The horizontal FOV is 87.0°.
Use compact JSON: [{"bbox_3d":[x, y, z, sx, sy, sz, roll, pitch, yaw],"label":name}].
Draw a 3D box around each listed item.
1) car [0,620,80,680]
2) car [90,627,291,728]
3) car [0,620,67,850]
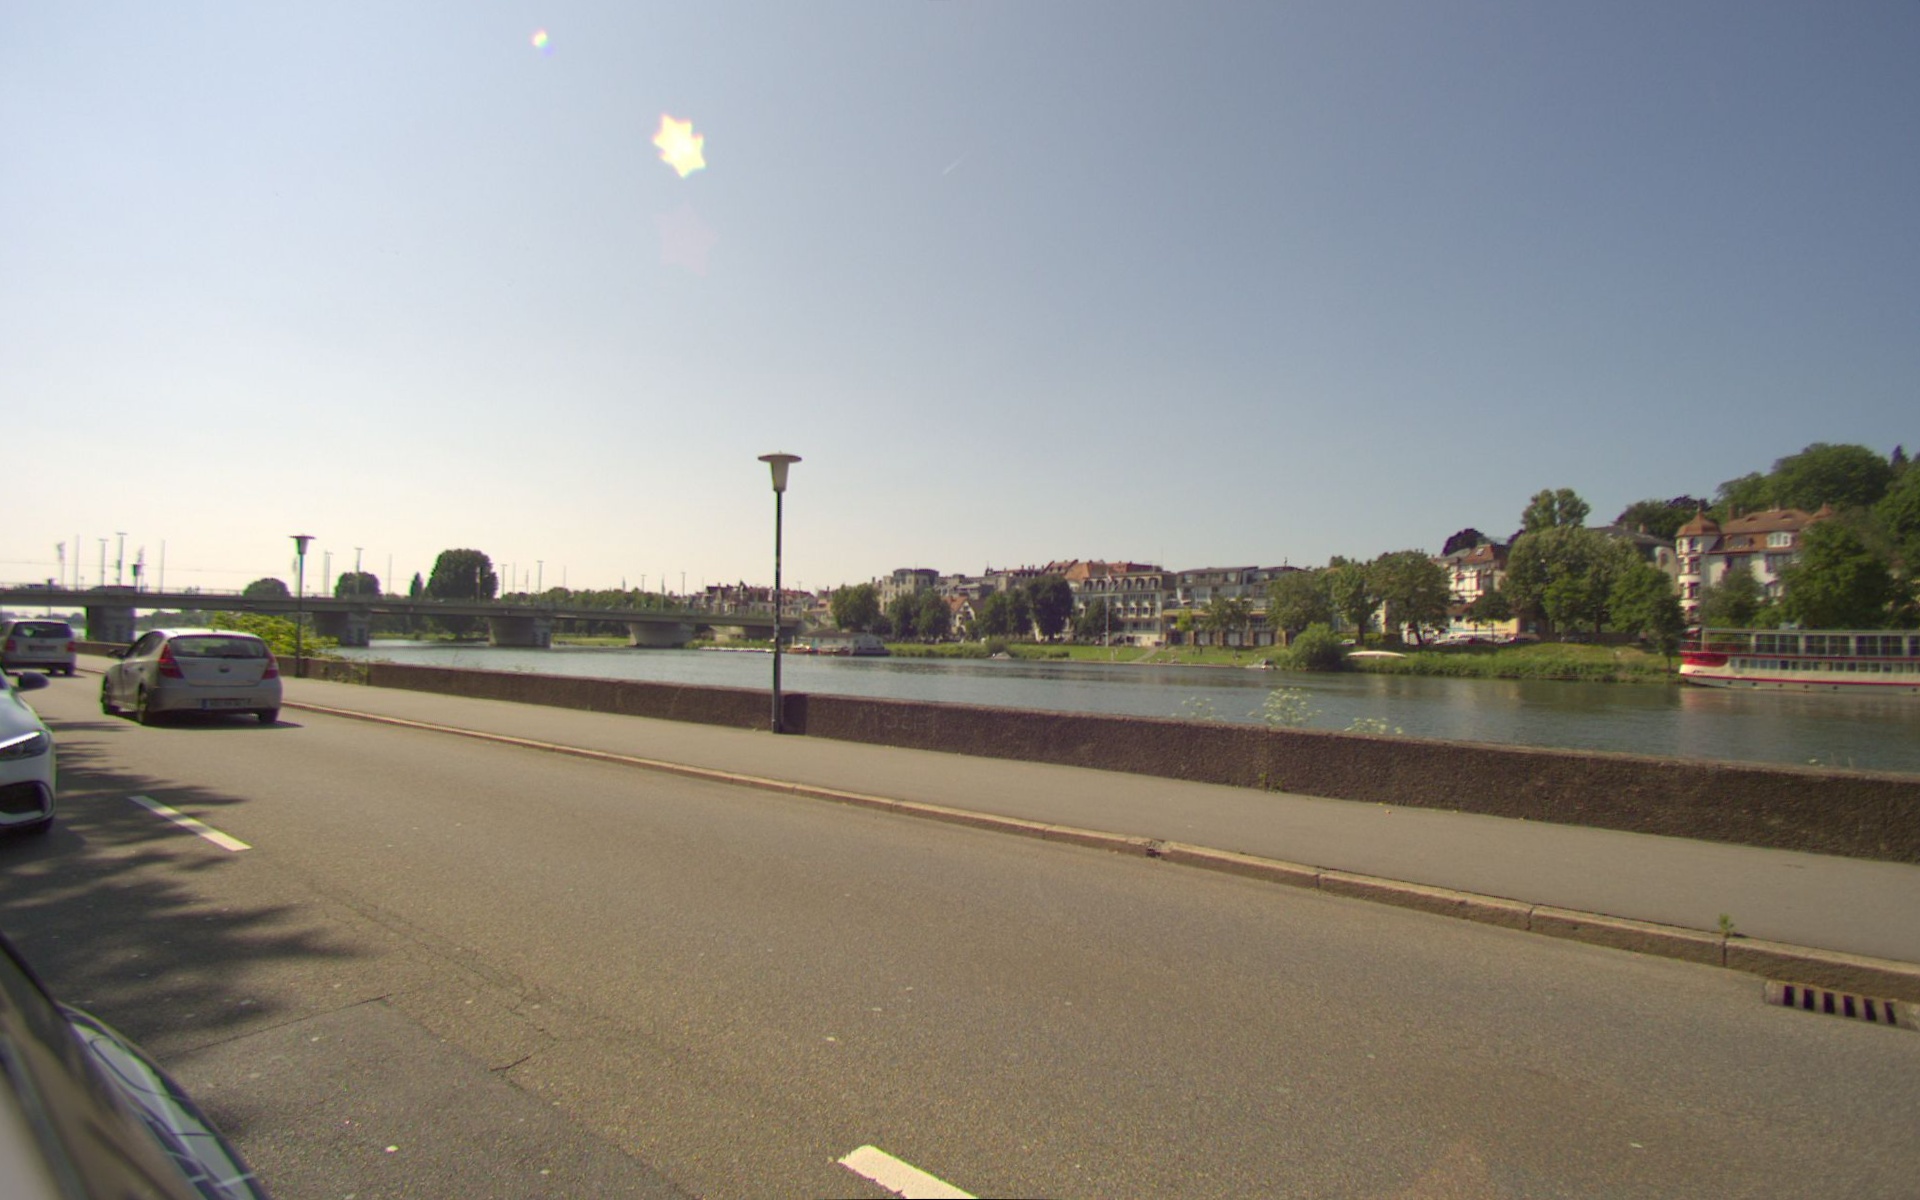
[{"bbox_3d":[-27.859,1.471,30.205,4.174,1.662,1.714,-1,-5,40],"label":"car"},{"bbox_3d":[-12.594,1.198,16.477,4.042,1.453,1.714,-1,-4,40],"label":"car"},{"bbox_3d":[-8.076,0.869,7.332,4.550,1.430,1.807,-2,-2,41],"label":"car"}]
